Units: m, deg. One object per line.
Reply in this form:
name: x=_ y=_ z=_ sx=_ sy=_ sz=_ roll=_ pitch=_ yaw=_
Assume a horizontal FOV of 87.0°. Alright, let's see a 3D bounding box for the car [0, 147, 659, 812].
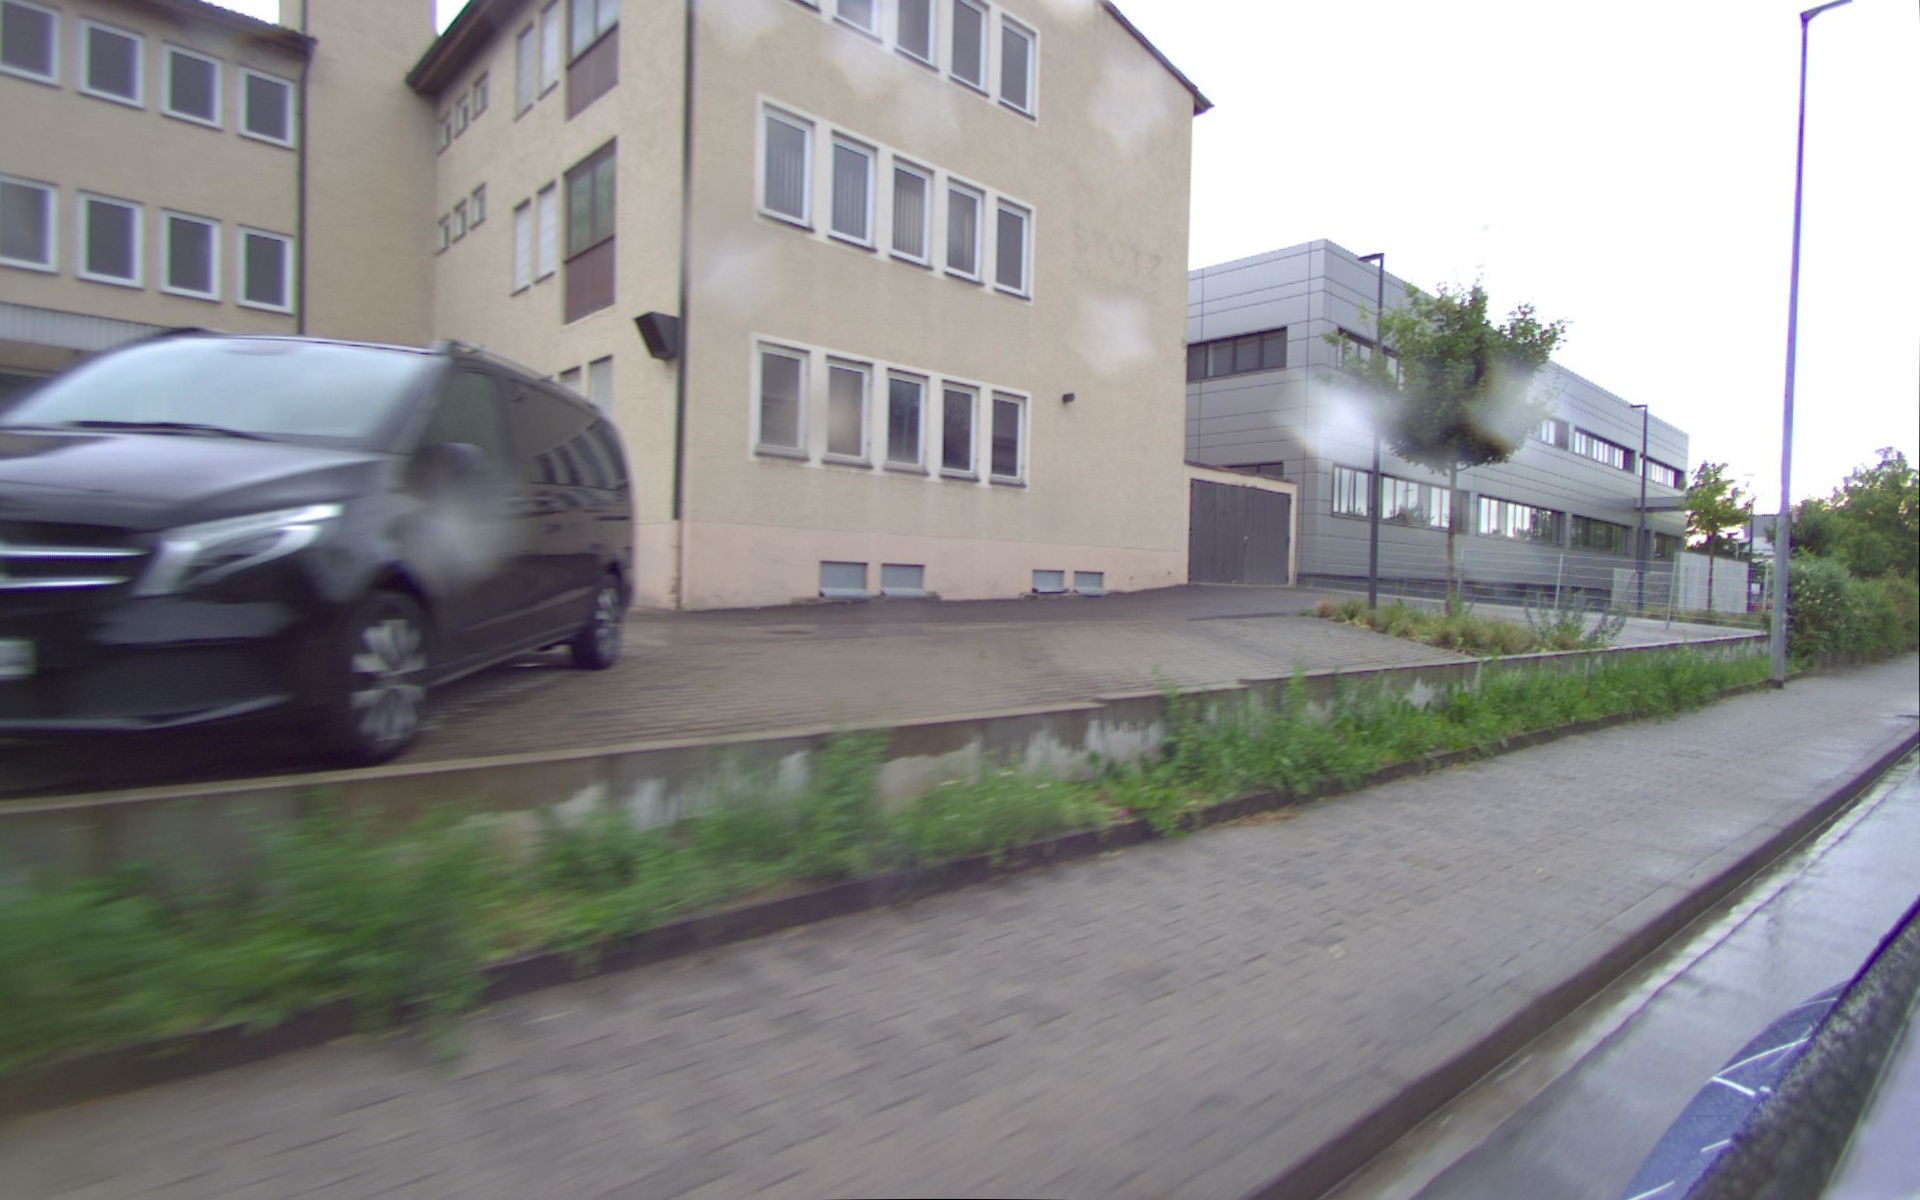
car: x=-3.242 y=-0.489 z=5.513 sx=2.013 sy=1.942 sz=5.123 roll=1 pitch=3 yaw=-4
